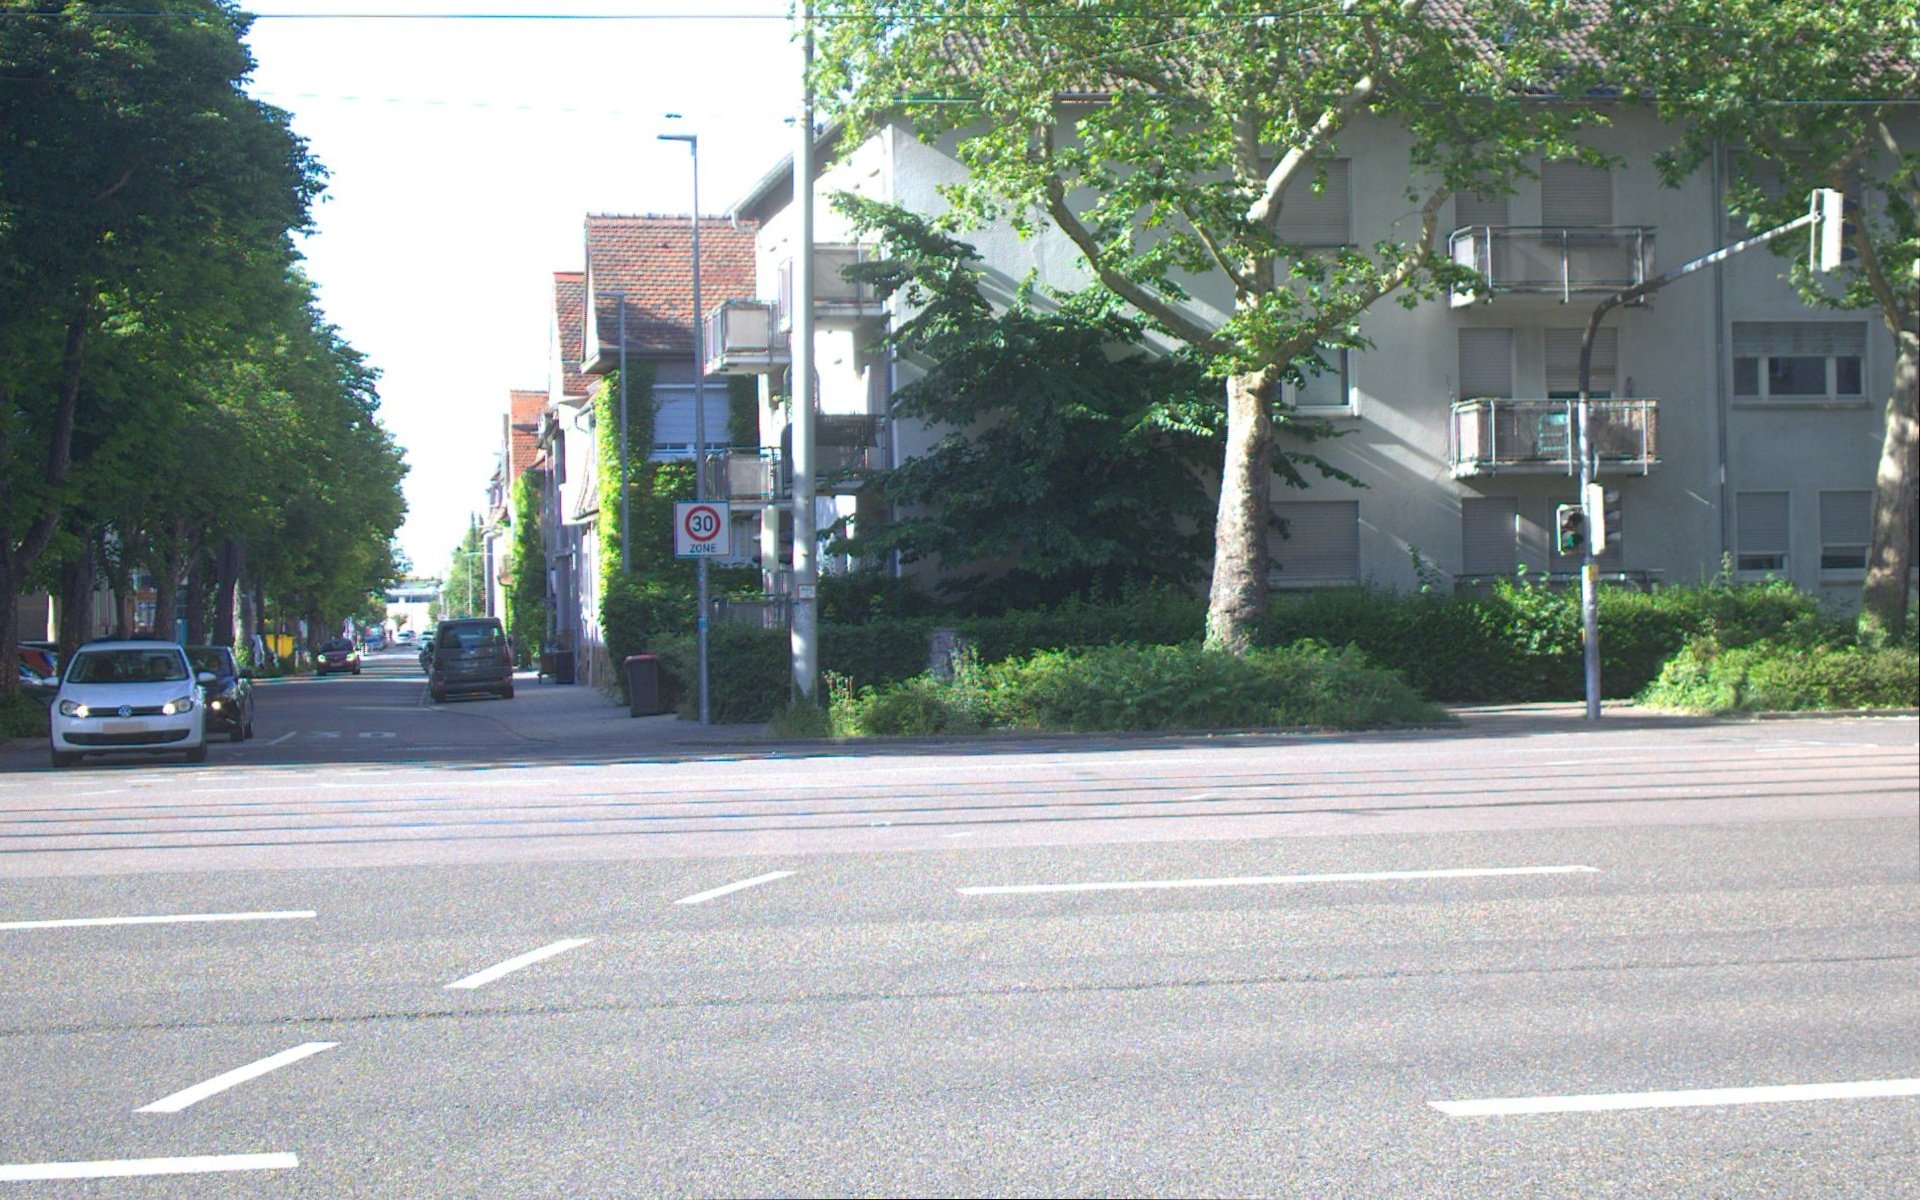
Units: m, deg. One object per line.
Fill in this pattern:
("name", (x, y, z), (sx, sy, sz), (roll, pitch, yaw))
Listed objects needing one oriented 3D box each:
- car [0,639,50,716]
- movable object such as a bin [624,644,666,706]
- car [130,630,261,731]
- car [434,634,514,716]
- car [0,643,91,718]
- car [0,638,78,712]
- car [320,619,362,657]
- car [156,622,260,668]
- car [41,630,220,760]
("car", (-19.198, 1.491, 65.445), (3.433, 1.447, 1.703), (0, -1, -7))
("movable object such as a bin", (-5.542, 1.315, 60.468), (0.597, 1.041, 0.707), (-5, 0, -11))
("car", (-11.725, 1.213, 52.886), (1.660, 1.459, 3.809), (-1, 0, -8))
("car", (-11.817, 1.792, 83.437), (1.864, 1.909, 4.783), (0, 0, -9))
("car", (-18.305, 1.499, 63.525), (4.211, 1.344, 1.703), (0, -1, -9))
("car", (-20.883, 1.624, 72.906), (3.986, 1.503, 1.722), (-2, -1, -7))
("car", (-26.383, 1.616, 146.548), (1.640, 1.503, 3.703), (-2, 0, -9))
("car", (-30.085, 1.796, 137.546), (3.986, 1.755, 1.798), (1, -1, -12))
("car", (-9.943, 1.141, 41.457), (1.806, 1.453, 4.001), (-1, -1, -10))
